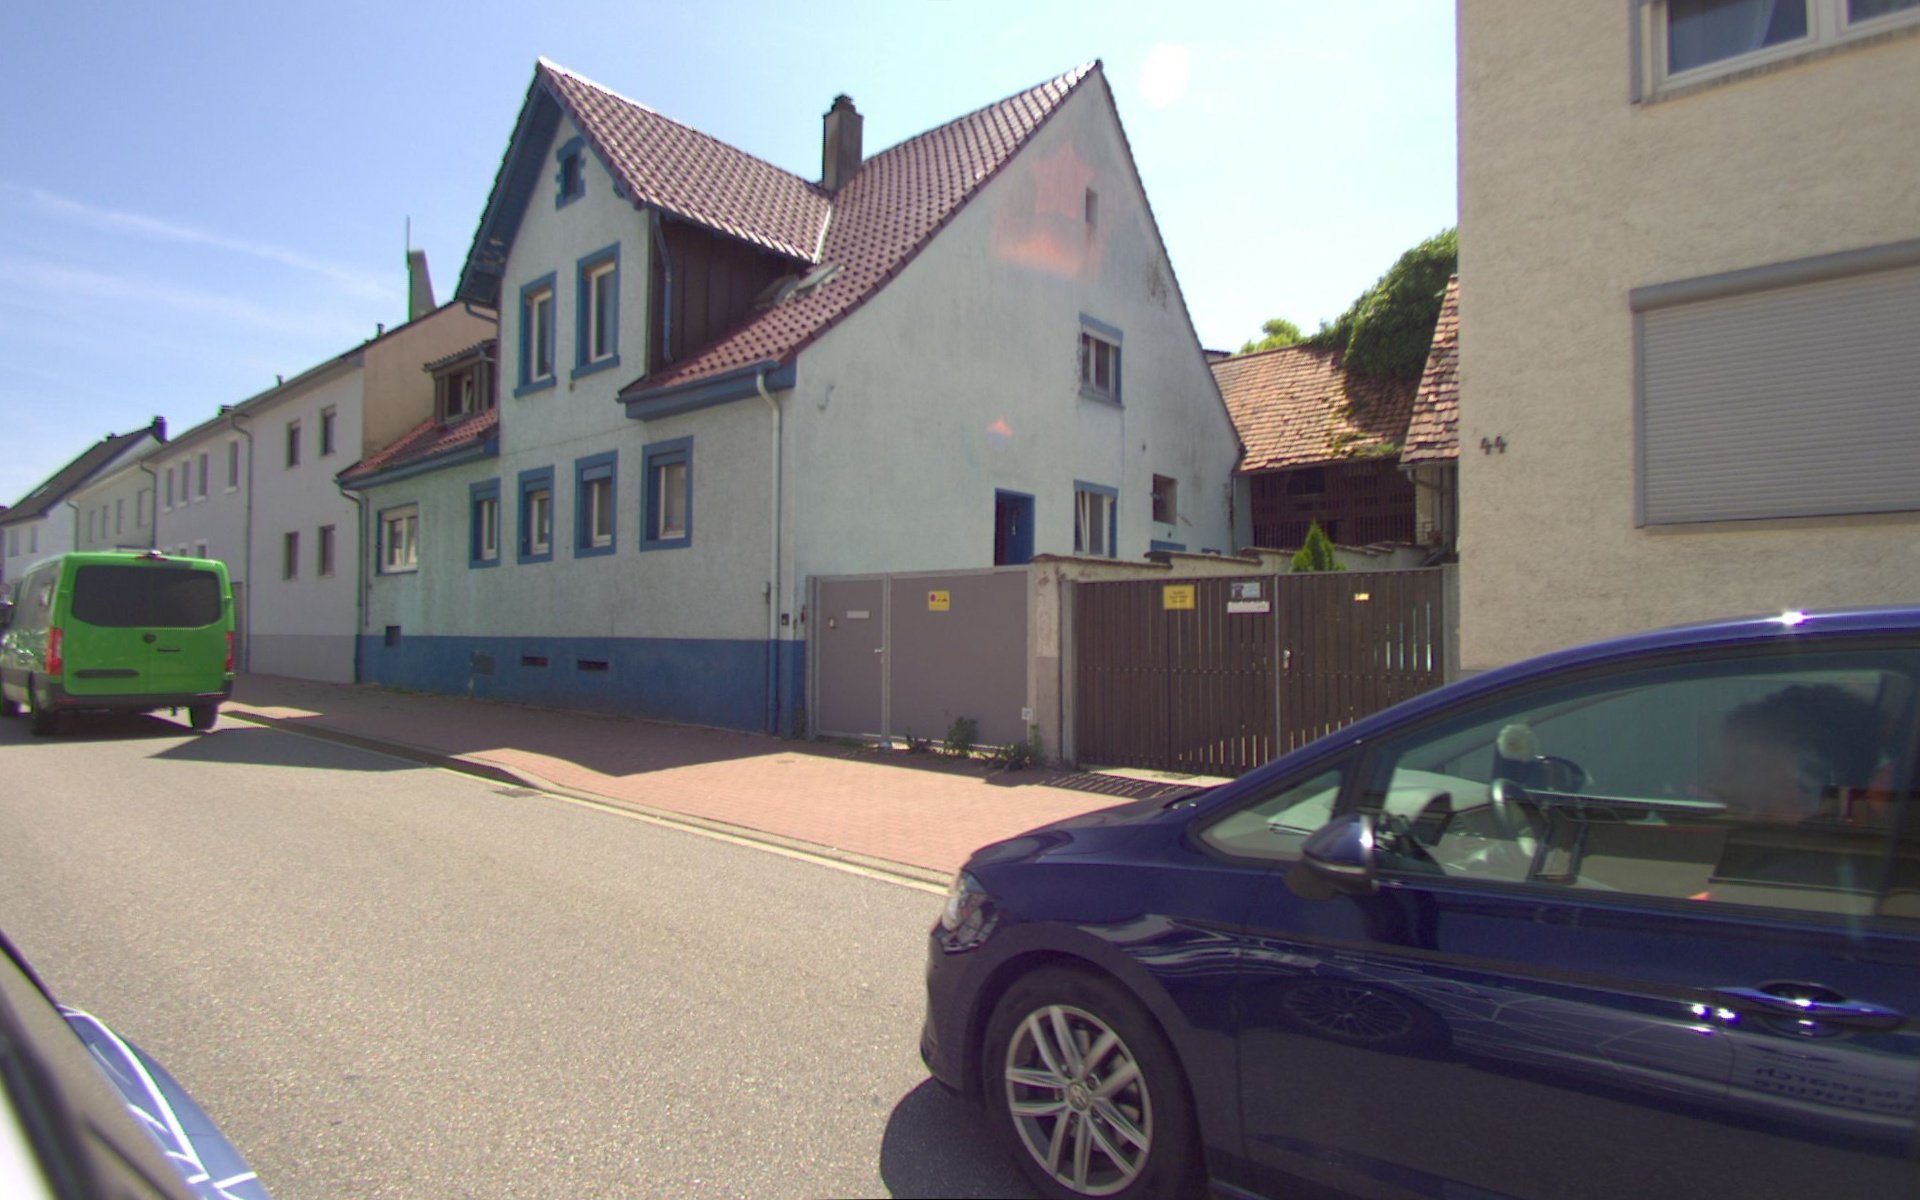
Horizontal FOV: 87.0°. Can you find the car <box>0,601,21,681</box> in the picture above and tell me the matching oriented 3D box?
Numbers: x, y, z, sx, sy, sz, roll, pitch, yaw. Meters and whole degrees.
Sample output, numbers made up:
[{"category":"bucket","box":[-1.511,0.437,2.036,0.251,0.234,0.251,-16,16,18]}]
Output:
[{"category":"car","box":[-25.873,1.032,26.071,5.115,1.958,1.861,-1,-3,41]}]

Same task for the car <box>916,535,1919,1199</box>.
[{"category":"car","box":[1.994,0.716,2.087,4.076,1.548,1.746,-1,-3,41]}]

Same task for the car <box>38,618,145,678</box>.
[{"category":"car","box":[-25.623,1.363,29.795,4.563,1.569,1.789,-1,0,42]}]

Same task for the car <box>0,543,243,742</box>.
[{"category":"car","box":[-12.592,0.594,14.830,6.079,2.372,2.029,-1,-3,42]}]
